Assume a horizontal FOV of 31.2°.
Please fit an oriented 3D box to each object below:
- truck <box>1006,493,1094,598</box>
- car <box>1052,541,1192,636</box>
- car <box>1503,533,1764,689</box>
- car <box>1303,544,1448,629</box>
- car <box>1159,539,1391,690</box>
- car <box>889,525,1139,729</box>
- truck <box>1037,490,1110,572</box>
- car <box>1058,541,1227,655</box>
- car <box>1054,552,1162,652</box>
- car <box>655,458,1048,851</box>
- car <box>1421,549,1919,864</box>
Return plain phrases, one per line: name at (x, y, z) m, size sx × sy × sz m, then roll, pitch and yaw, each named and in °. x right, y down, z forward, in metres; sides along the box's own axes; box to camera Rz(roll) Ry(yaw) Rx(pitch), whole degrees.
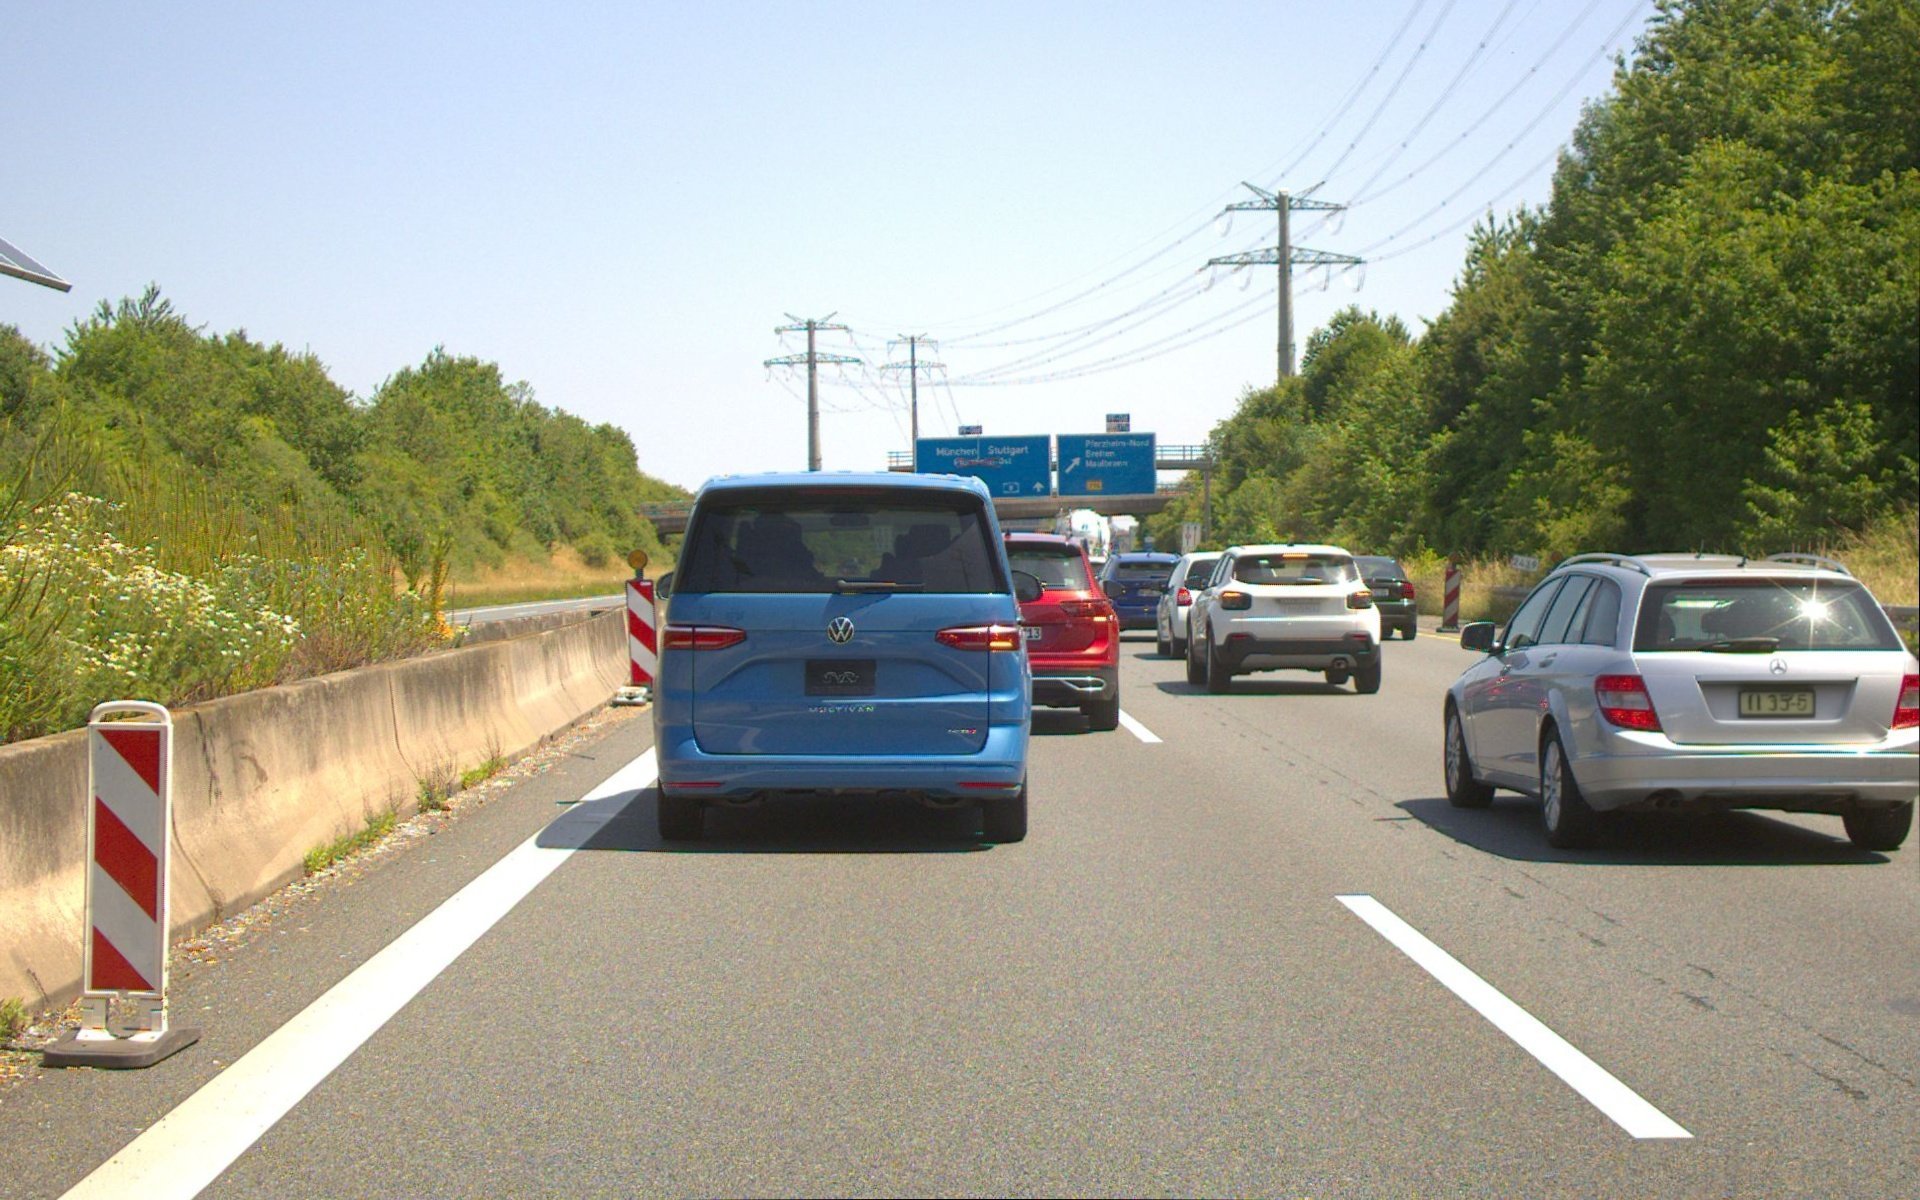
truck at (2.385, -1.467, 92.452) m, size 1.993 × 2.714 × 5.681 m, roll 1°, pitch 1°, yaw -2°
car at (2.679, -0.227, 57.745) m, size 1.908 × 1.511 × 4.384 m, roll 1°, pitch 1°, yaw -3°
car at (6.711, 0.067, 34.638) m, size 1.741 × 1.465 × 4.014 m, roll 0°, pitch 1°, yaw -1°
car at (7.050, -0.261, 58.720) m, size 1.734 × 1.373 × 4.303 m, roll 1°, pitch 1°, yaw -3°
car at (3.291, 0.116, 36.647) m, size 1.908 × 1.502 × 3.922 m, roll 1°, pitch 1°, yaw -3°
car at (0.386, 0.178, 29.552) m, size 1.908 × 1.625 × 4.384 m, roll 0°, pitch 1°, yaw -2°
truck at (5.809, -3.579, 179.014) m, size 2.644 × 4.058 × 16.443 m, roll 1°, pitch 1°, yaw -2°
car at (2.515, -0.059, 48.426) m, size 1.908 × 1.511 × 4.384 m, roll 1°, pitch 1°, yaw -3°
car at (3.108, 0.015, 73.010) m, size 1.993 × 2.007 × 4.000 m, roll 1°, pitch 1°, yaw -1°
car at (-0.697, 0.229, 18.776) m, size 1.870 × 1.872 × 4.384 m, roll 1°, pitch 1°, yaw -5°
car at (3.754, 0.465, 18.160) m, size 1.821 × 1.432 × 4.384 m, roll 1°, pitch 1°, yaw -3°
